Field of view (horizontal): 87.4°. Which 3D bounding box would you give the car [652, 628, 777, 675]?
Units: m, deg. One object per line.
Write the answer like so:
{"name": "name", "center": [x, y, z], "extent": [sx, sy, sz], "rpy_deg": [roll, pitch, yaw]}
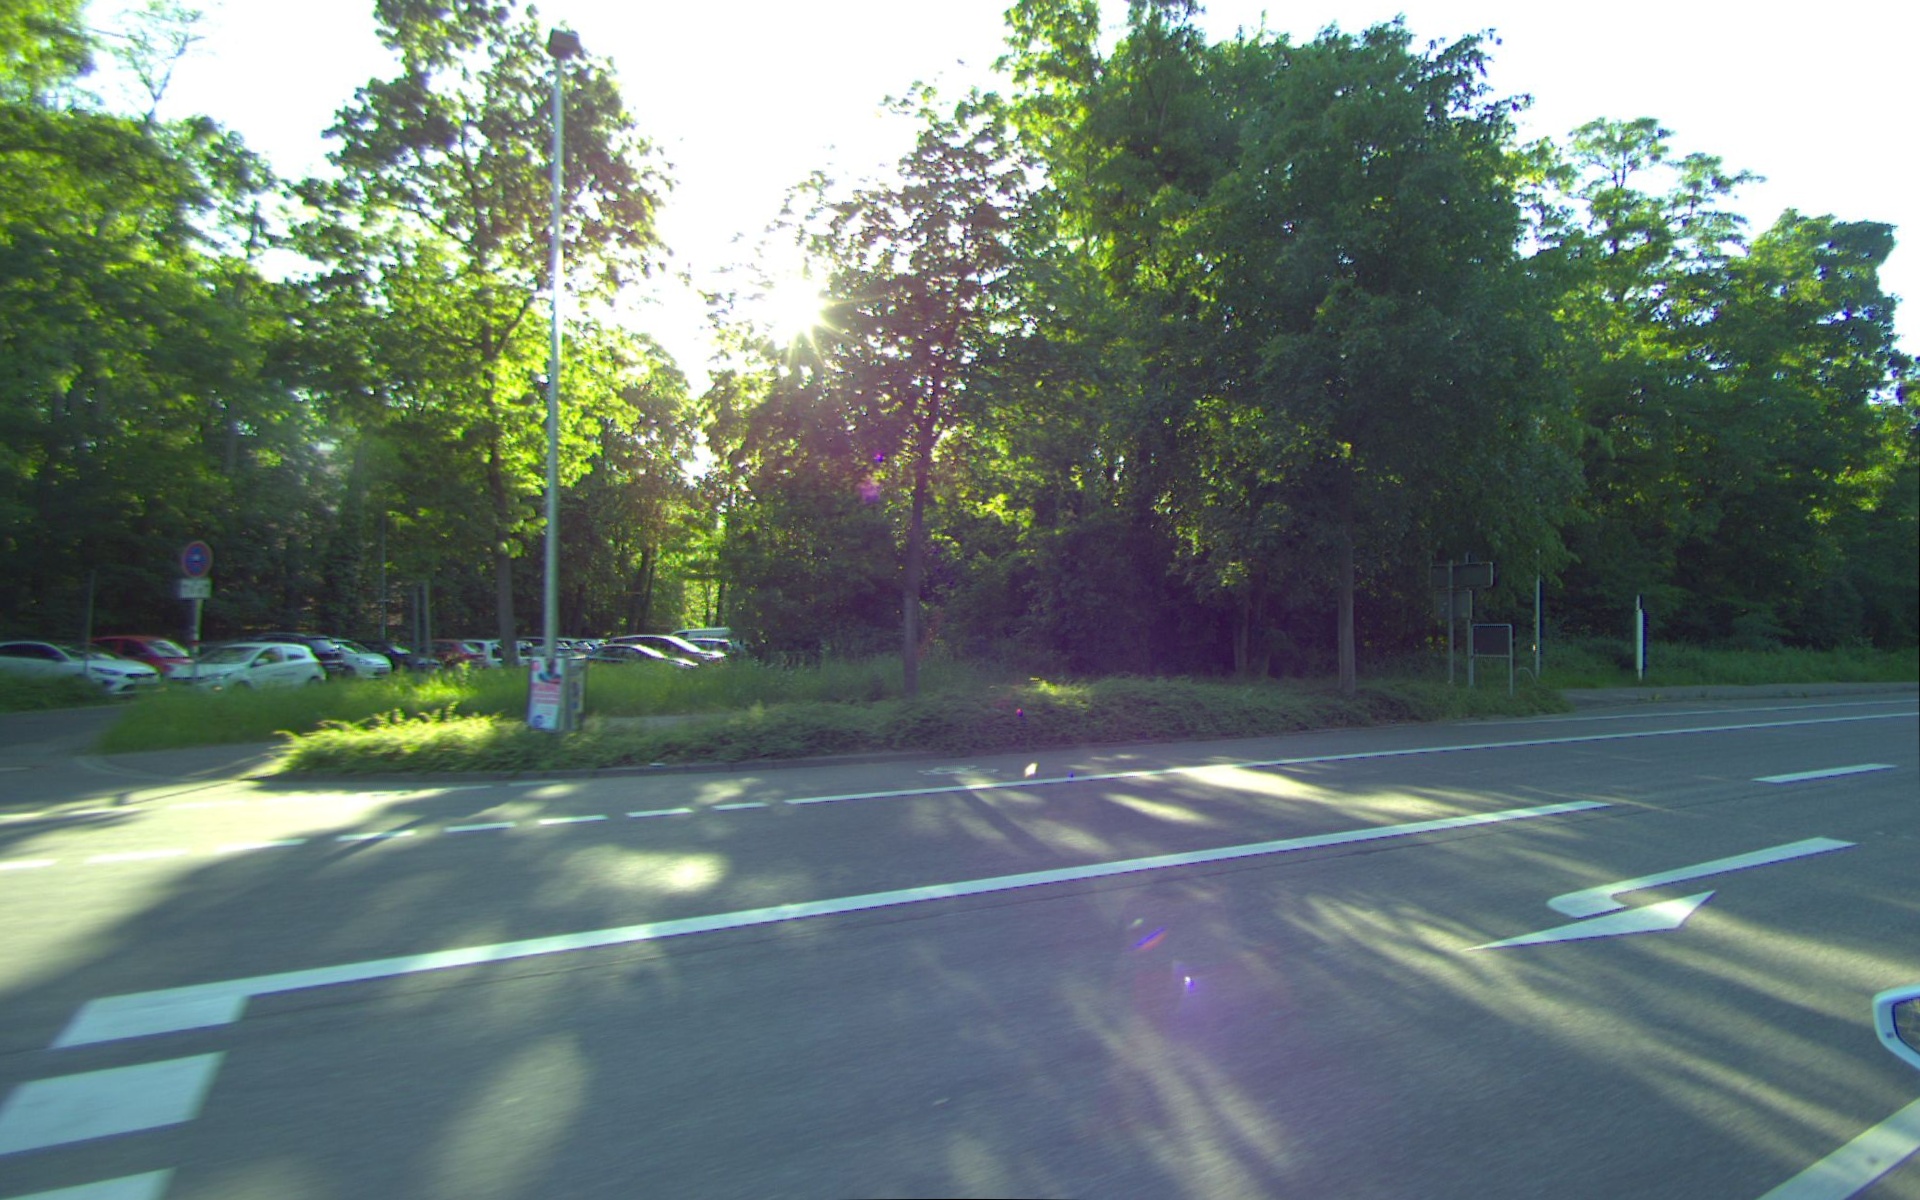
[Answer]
{"name": "car", "center": [-9.161, 1.927, 37.692], "extent": [4.206, 1.675, 1.832], "rpy_deg": [0, -2, 2]}

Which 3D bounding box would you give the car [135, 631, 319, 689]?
{"name": "car", "center": [-22.233, 1.839, 30.596], "extent": [4.206, 1.674, 1.832], "rpy_deg": [0, -5, 2]}

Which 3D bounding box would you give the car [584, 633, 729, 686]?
{"name": "car", "center": [-10.004, 1.959, 33.321], "extent": [4.206, 1.675, 1.832], "rpy_deg": [0, -2, 2]}

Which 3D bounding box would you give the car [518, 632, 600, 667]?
{"name": "car", "center": [-20.455, 2.514, 51.274], "extent": [3.540, 1.750, 1.570], "rpy_deg": [0, -2, 6]}

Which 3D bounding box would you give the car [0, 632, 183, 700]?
{"name": "car", "center": [-22.869, 1.677, 25.932], "extent": [4.206, 1.675, 1.832], "rpy_deg": [0, -2, 2]}

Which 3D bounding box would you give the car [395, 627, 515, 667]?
{"name": "car", "center": [-21.920, 2.054, 43.713], "extent": [4.206, 1.674, 1.832], "rpy_deg": [0, -5, 2]}

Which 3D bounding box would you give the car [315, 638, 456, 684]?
{"name": "car", "center": [-21.725, 2.317, 38.093], "extent": [4.206, 1.674, 1.832], "rpy_deg": [0, -5, 2]}

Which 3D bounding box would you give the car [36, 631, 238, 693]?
{"name": "car", "center": [-23.279, 1.747, 28.523], "extent": [4.206, 1.675, 1.832], "rpy_deg": [0, -2, 2]}

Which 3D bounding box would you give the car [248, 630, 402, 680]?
{"name": "car", "center": [-22.430, 1.958, 35.578], "extent": [4.206, 1.674, 1.832], "rpy_deg": [0, -5, 2]}

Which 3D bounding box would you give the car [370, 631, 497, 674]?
{"name": "car", "center": [-21.546, 2.154, 41.205], "extent": [4.206, 1.674, 1.832], "rpy_deg": [0, -5, 2]}

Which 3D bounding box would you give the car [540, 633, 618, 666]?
{"name": "car", "center": [-20.295, 2.626, 53.576], "extent": [3.540, 1.750, 1.570], "rpy_deg": [0, -2, 6]}

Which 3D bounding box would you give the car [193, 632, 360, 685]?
{"name": "car", "center": [-22.541, 1.956, 33.245], "extent": [4.206, 1.674, 1.832], "rpy_deg": [0, -5, 2]}

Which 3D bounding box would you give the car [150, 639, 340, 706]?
{"name": "car", "center": [-17.908, 1.766, 25.414], "extent": [1.794, 1.545, 3.946], "rpy_deg": [0, -2, 3]}

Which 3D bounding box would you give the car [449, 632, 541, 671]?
{"name": "car", "center": [-21.469, 2.372, 46.421], "extent": [3.540, 1.750, 1.570], "rpy_deg": [0, -2, 6]}

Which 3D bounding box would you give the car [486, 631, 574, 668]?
{"name": "car", "center": [-20.706, 2.381, 48.444], "extent": [3.540, 1.750, 1.570], "rpy_deg": [0, -2, 6]}

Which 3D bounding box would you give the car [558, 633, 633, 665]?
{"name": "car", "center": [-20.239, 2.729, 55.858], "extent": [3.540, 1.750, 1.570], "rpy_deg": [0, -2, 6]}

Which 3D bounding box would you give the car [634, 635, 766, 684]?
{"name": "car", "center": [-9.210, 2.084, 35.794], "extent": [4.206, 1.675, 1.832], "rpy_deg": [0, -2, 2]}
